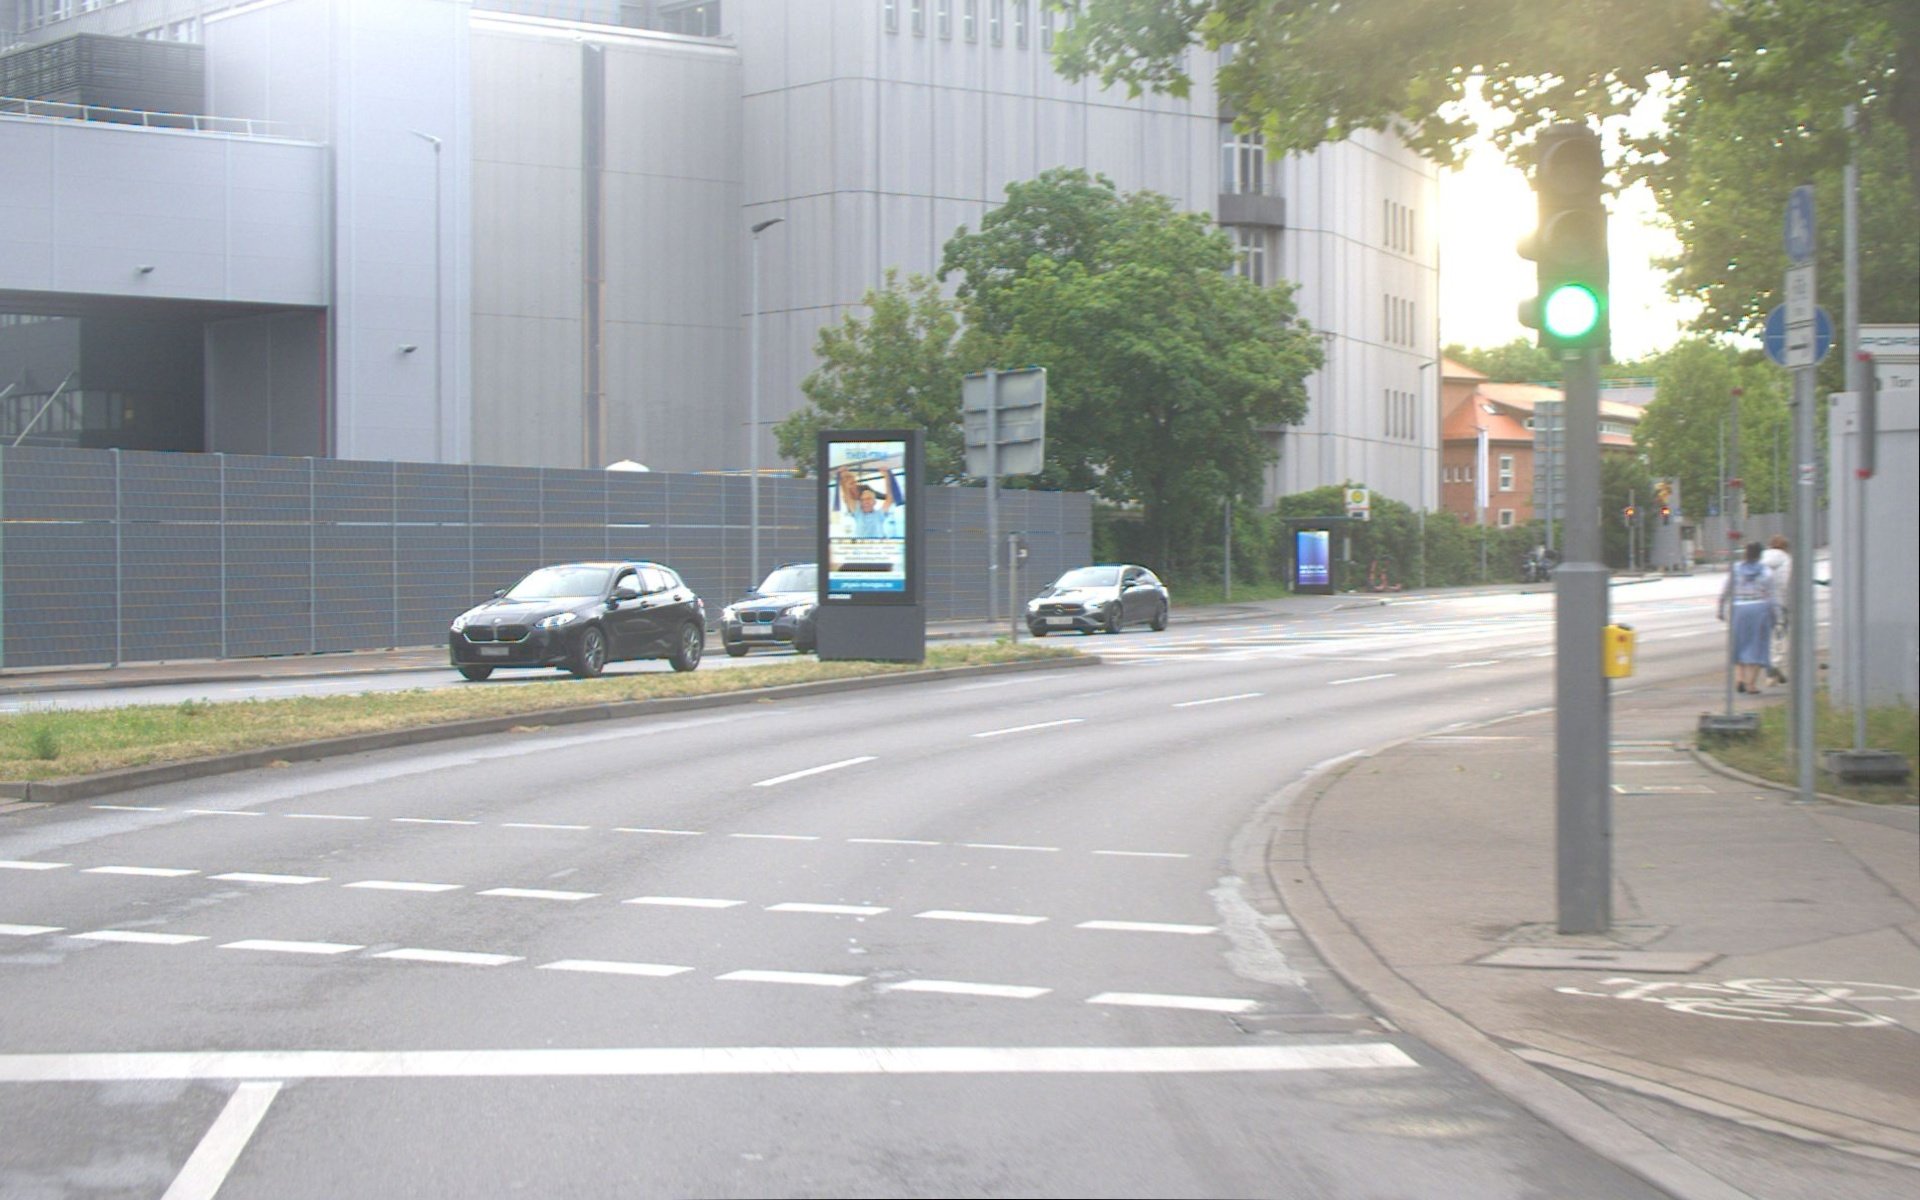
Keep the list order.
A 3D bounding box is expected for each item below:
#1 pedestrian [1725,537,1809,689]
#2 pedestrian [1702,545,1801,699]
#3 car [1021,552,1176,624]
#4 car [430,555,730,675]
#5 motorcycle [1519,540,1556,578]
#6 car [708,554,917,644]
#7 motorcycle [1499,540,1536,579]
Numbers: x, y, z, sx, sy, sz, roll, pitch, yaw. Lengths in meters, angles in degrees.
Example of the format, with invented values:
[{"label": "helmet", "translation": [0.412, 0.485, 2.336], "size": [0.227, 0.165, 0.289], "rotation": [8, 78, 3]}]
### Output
[{"label": "pedestrian", "translation": [8.577, 0.128, 36.529], "size": [0.710, 1.586, 0.839], "rotation": [0, 1, 26]}, {"label": "pedestrian", "translation": [7.947, 0.209, 34.511], "size": [0.832, 1.515, 0.841], "rotation": [0, 1, 24]}, {"label": "car", "translation": [2.900, -0.263, 70.890], "size": [1.784, 1.380, 4.541], "rotation": [-2, 0, 21]}, {"label": "car", "translation": [-4.756, 0.152, 43.667], "size": [1.785, 1.435, 4.390], "rotation": [0, 1, 24]}, {"label": "motorcycle", "translation": [23.888, -1.722, 142.193], "size": [0.959, 1.550, 3.297], "rotation": [0, 1, 19]}, {"label": "car", "translation": [-2.462, -0.037, 58.778], "size": [1.785, 1.449, 4.555], "rotation": [-1, 0, 23]}, {"label": "motorcycle", "translation": [22.338, -1.624, 137.652], "size": [0.914, 1.527, 3.297], "rotation": [0, 1, 19]}]
